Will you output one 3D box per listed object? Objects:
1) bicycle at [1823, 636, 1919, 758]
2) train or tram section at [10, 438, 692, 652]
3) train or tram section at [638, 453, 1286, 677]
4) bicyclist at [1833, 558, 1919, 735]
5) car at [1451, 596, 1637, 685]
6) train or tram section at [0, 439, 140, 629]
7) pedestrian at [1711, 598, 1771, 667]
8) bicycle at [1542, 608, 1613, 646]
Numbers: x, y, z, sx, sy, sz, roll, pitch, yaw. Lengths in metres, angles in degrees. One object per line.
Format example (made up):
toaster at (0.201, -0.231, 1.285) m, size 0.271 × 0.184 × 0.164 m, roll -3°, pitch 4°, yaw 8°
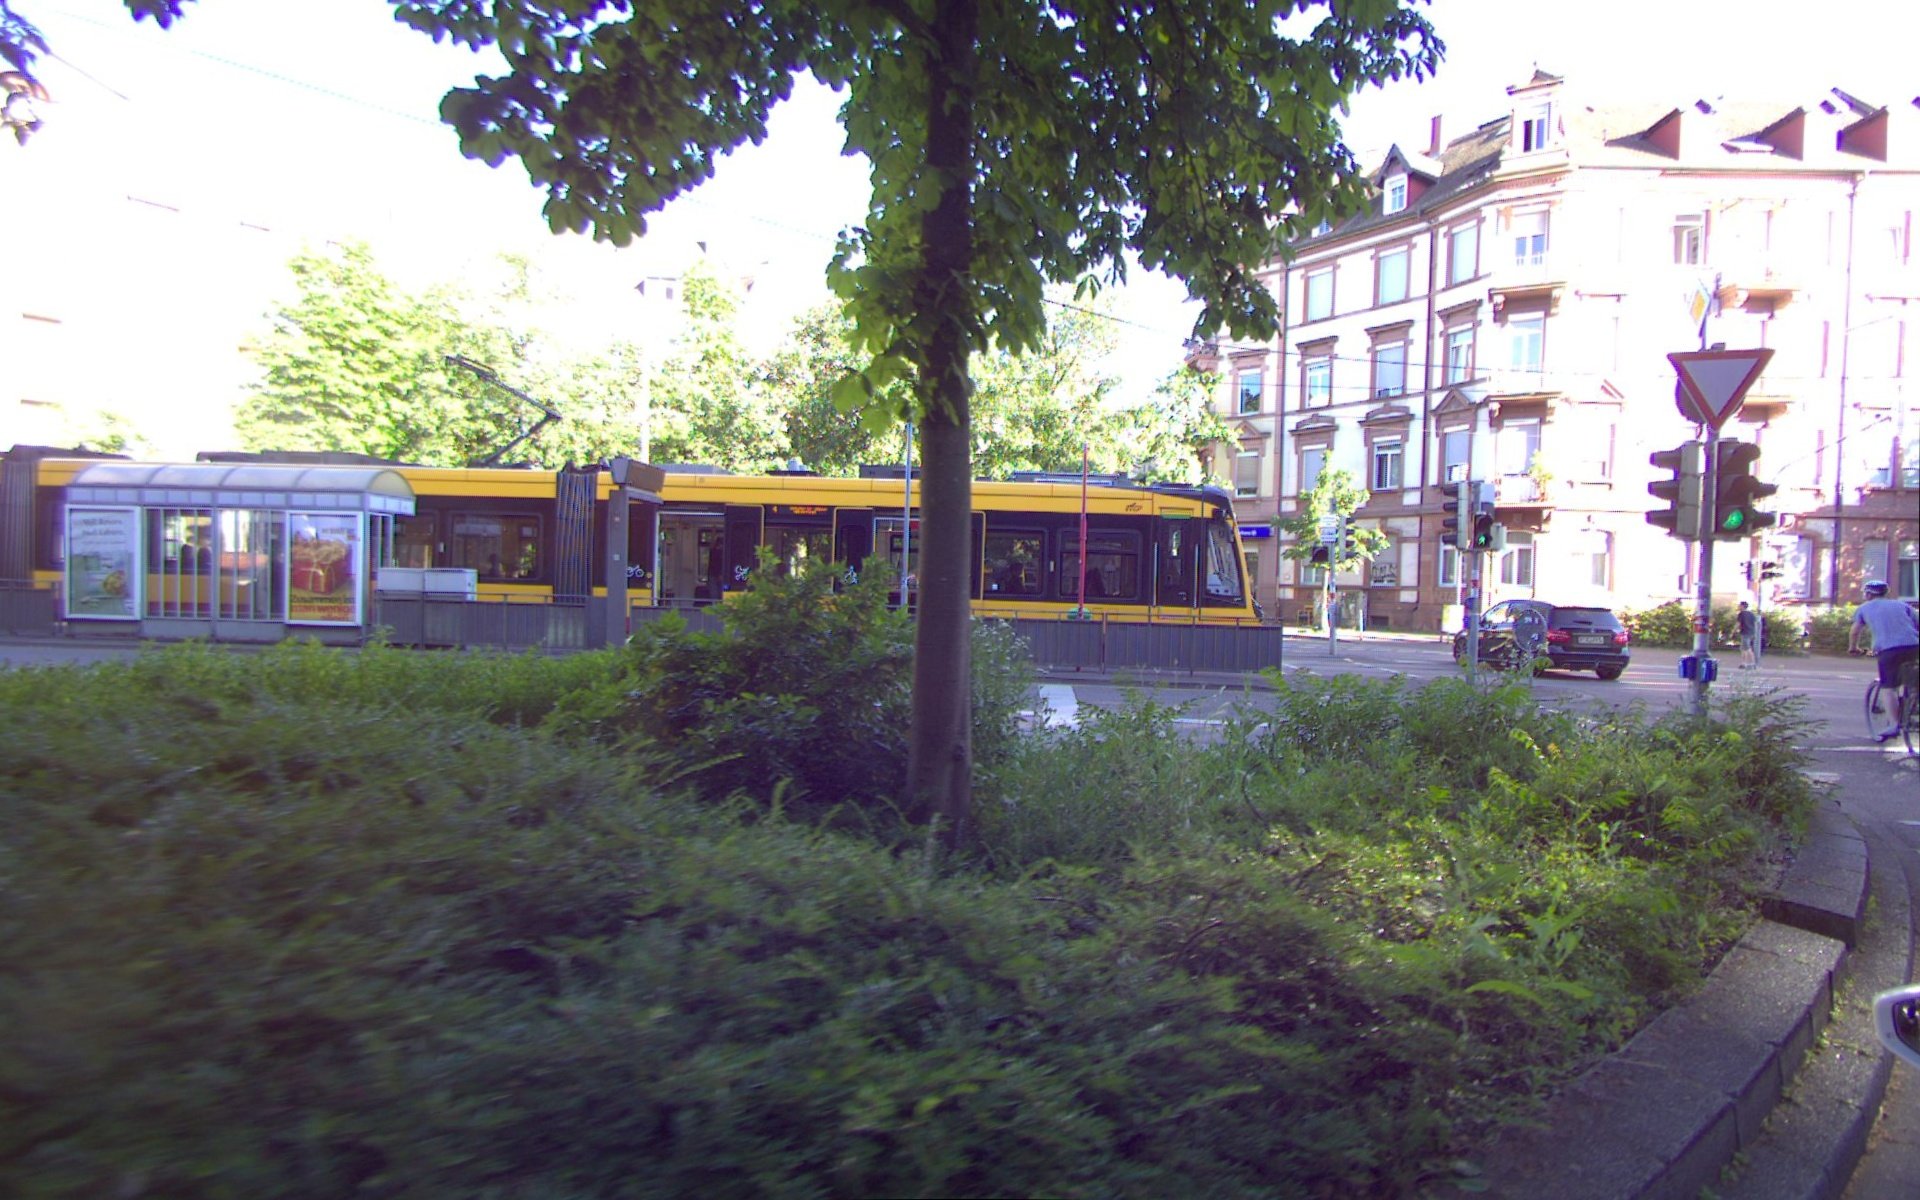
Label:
bicycle at (10.629, 1.064, 11.525) m, size 0.799 × 1.200 × 2.220 m, roll 2°, pitch 1°, yaw 34°
train or tram section at (-11.849, -1.068, 20.117) m, size 12.171 × 3.635 × 2.787 m, roll 2°, pitch 1°, yaw 3°
train or tram section at (0.002, -0.680, 19.465) m, size 11.564 × 3.668 × 2.801 m, roll 2°, pitch 1°, yaw 3°
bicyclist at (10.633, 0.510, 11.501) m, size 0.783 × 1.939 × 0.942 m, roll 2°, pitch 1°, yaw 34°
car at (12.141, 0.775, 21.198) m, size 1.759 × 1.563 × 3.860 m, roll 0°, pitch 2°, yaw 2°
train or tram section at (-24.139, -1.463, 20.801) m, size 12.427 × 3.605 × 2.774 m, roll 2°, pitch 1°, yaw 3°
pedestrian at (19.814, 0.814, 25.486) m, size 0.716 × 1.657 × 0.898 m, roll 0°, pitch 3°, yaw -28°
bicycle at (20.780, 0.900, 33.829) m, size 1.935 × 1.122 × 0.441 m, roll 4°, pitch 2°, yaw 38°
